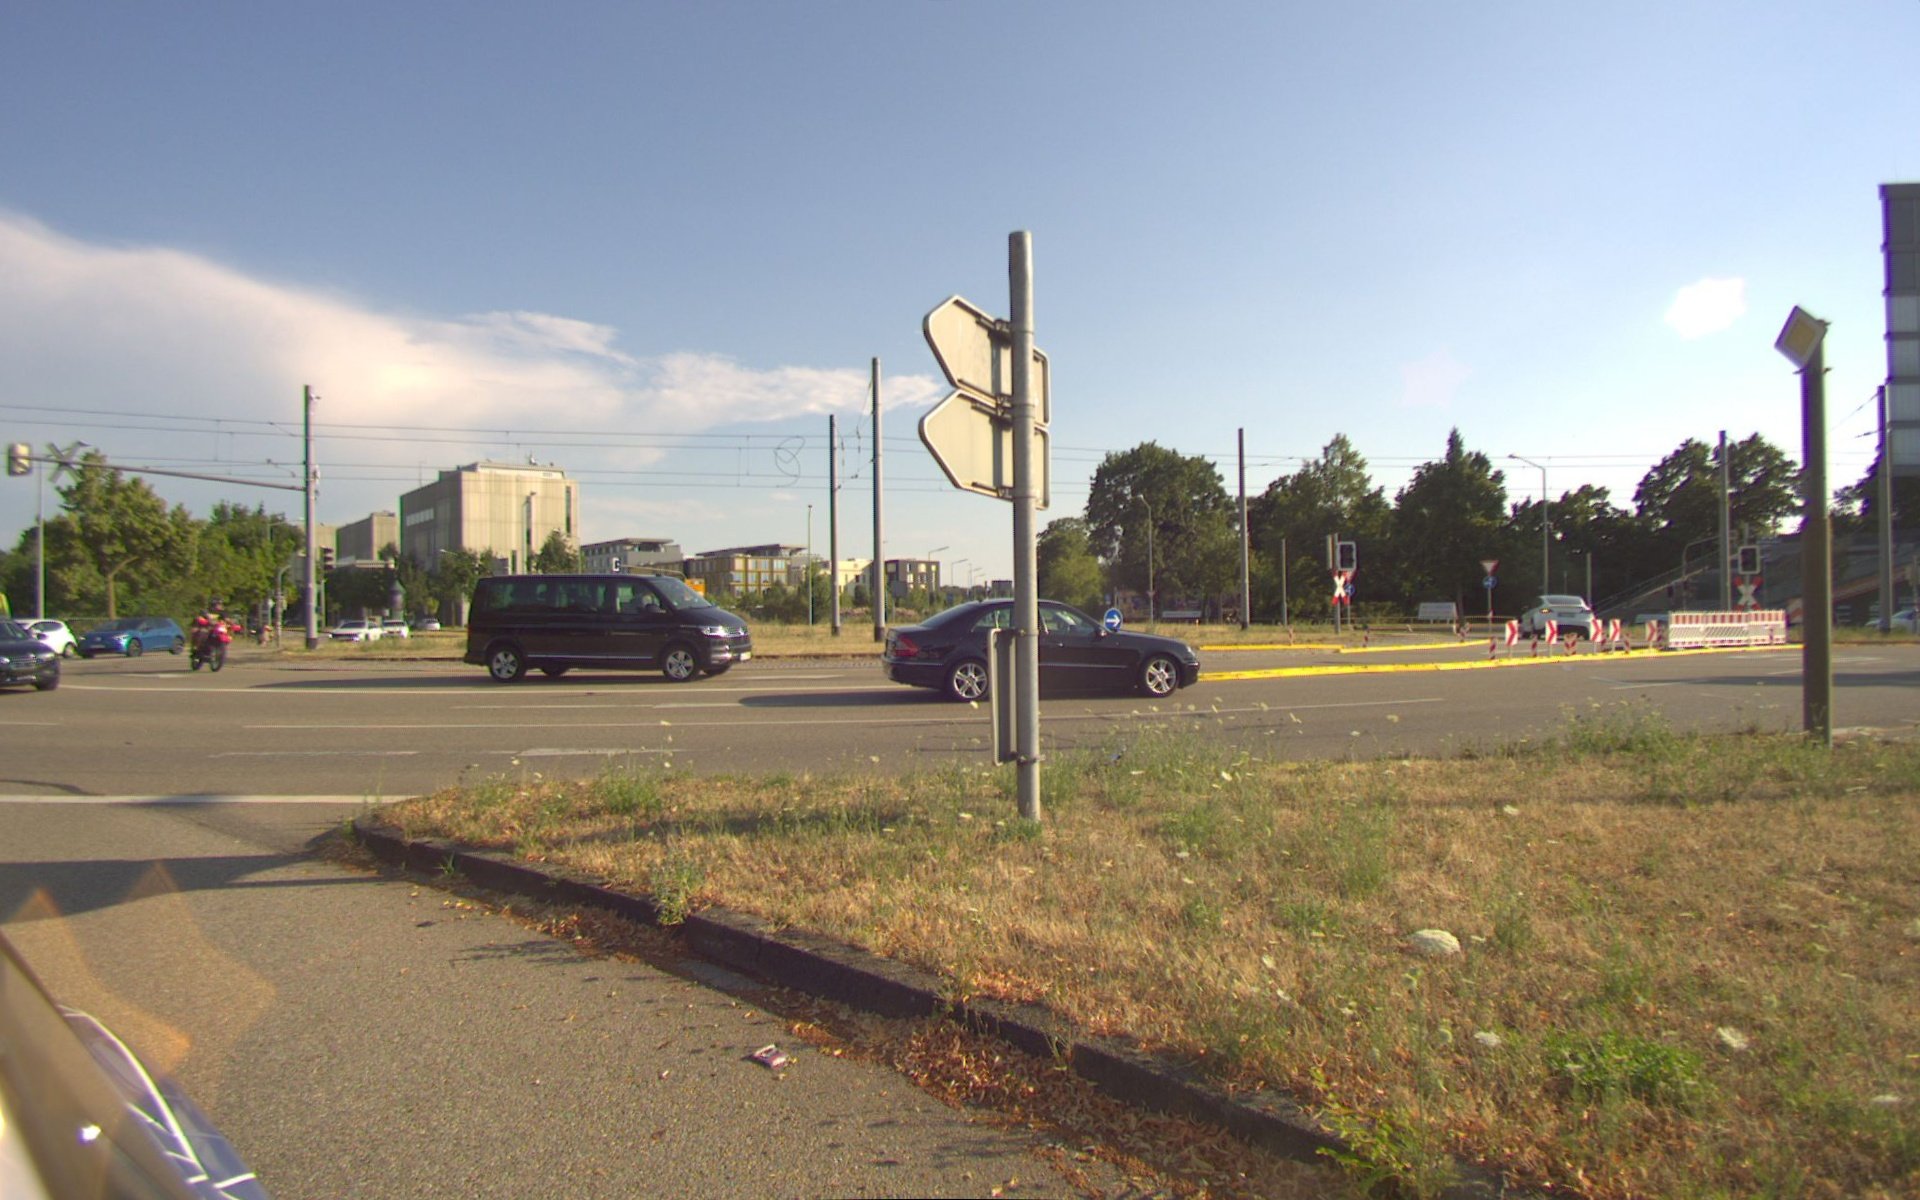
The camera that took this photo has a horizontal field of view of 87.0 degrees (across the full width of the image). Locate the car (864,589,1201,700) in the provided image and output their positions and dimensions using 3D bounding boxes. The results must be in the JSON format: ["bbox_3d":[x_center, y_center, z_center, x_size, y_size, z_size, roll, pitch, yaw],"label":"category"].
[{"bbox_3d":[0.987,0.607,14.997,4.625,1.417,1.847,-1,0,-9],"label":"car"}]

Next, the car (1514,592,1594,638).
[{"bbox_3d":[21.815,0.543,37.330,1.987,1.586,3.970,-1,0,23],"label":"car"}]

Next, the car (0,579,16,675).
[{"bbox_3d":[-26.376,0.721,26.072,1.966,2.613,5.501,-2,-1,-33],"label":"car"}]

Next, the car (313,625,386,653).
[{"bbox_3d":[-34.727,2.178,57.749,2.061,1.394,4.599,-1,0,-10],"label":"car"}]

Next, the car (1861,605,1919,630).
[{"bbox_3d":[48.023,0.877,51.052,3.465,1.249,1.653,-1,-1,10],"label":"car"}]

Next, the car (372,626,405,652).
[{"bbox_3d":[-39.955,2.693,70.798,1.966,1.652,4.012,-1,-1,-29],"label":"car"}]

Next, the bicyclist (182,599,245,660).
[{"bbox_3d":[-18.032,0.699,24.457,0.766,1.395,0.878,-1,2,19],"label":"bicyclist"}]

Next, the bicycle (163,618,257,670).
[{"bbox_3d":[-18.071,1.054,24.380,2.015,1.193,0.815,-1,-1,18],"label":"bicycle"}]

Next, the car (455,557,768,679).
[{"bbox_3d":[-6.449,0.346,18.960,5.186,2.063,2.088,-1,0,10],"label":"car"}]

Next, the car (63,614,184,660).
[{"bbox_3d":[-32.647,1.403,39.650,1.841,1.674,4.007,-1,-1,-8],"label":"car"}]

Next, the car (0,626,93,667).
[{"bbox_3d":[-37.510,1.855,40.999,1.656,1.529,4.006,-1,-1,-6],"label":"car"}]

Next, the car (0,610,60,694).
[{"bbox_3d":[-18.521,0.972,18.981,4.383,1.447,1.787,-2,-1,39],"label":"car"}]
